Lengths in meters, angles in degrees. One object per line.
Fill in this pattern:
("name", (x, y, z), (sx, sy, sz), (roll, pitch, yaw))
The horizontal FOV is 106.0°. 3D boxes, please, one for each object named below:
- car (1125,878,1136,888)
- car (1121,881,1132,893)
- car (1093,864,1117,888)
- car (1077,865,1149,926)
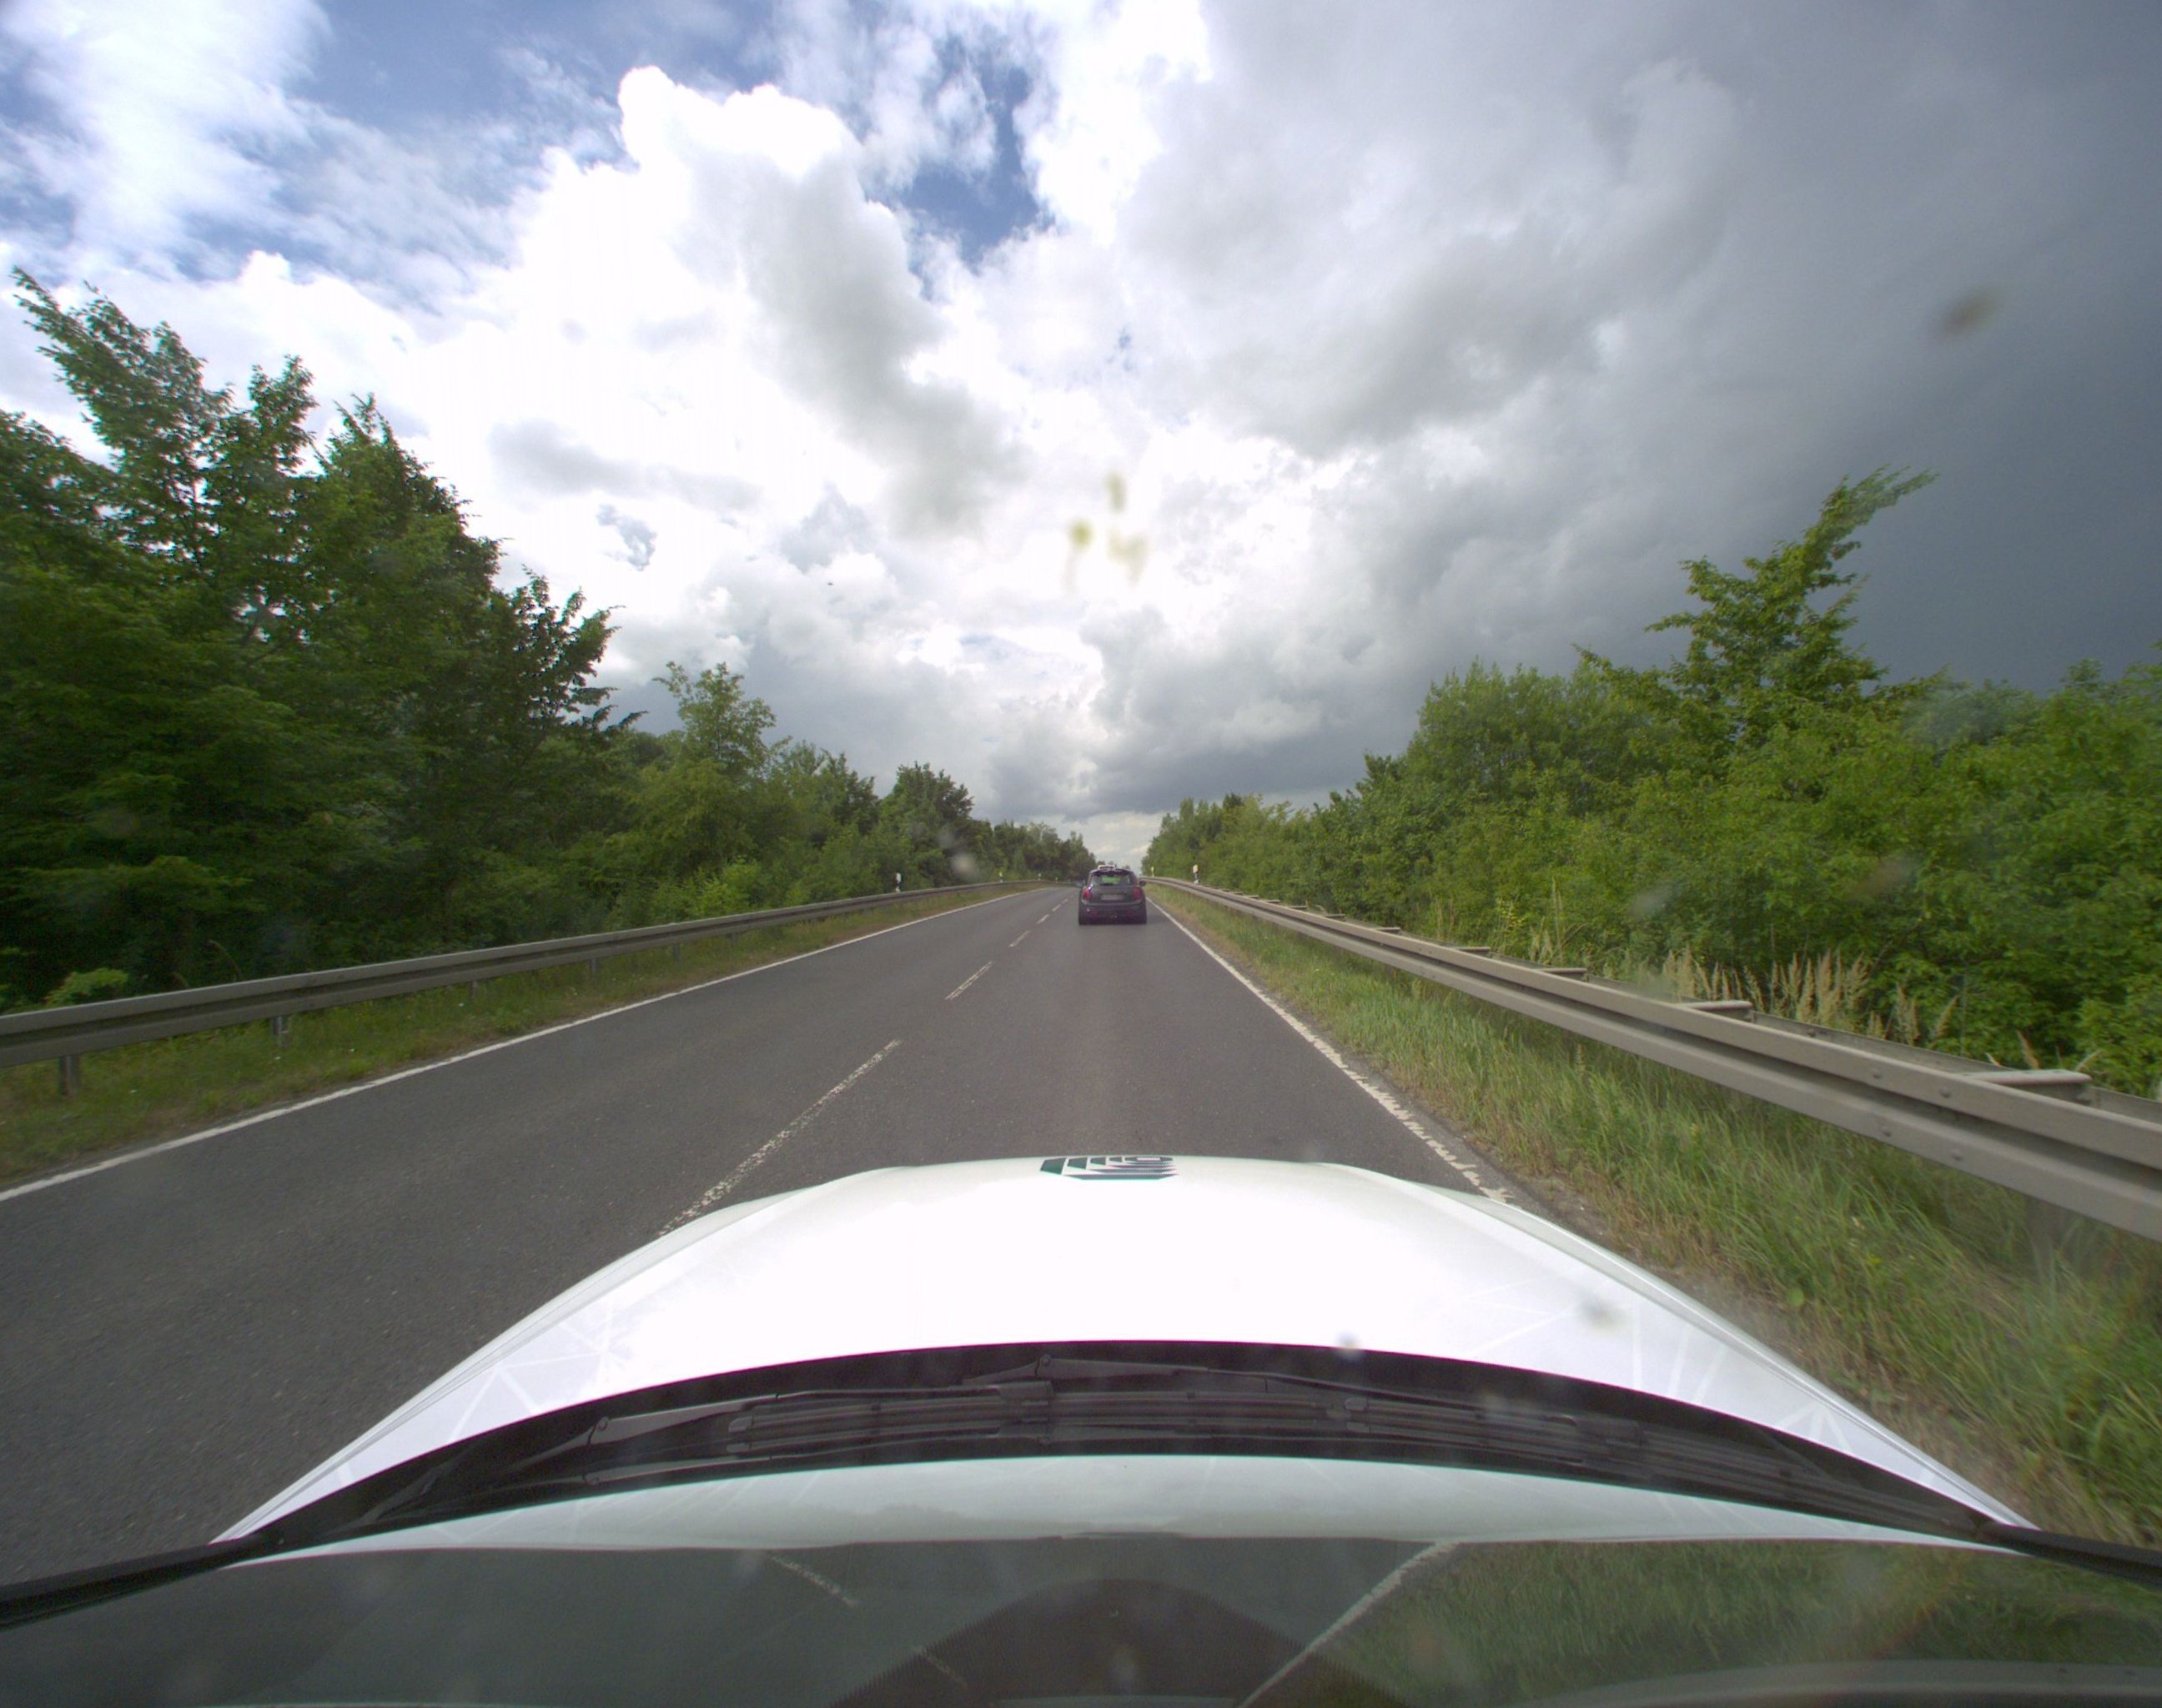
("car", (10.289, 6.028, 169.703), (1.983, 2.014, 4.007), (-1, -1, 6))
("car", (8.248, 5.868, 147.123), (1.985, 2.014, 4.004), (-1, -1, 4))
("car", (2.214, 1.955, 73.468), (2.014, 2.013, 4.002), (-2, -1, 2))
("car", (0.894, 1.058, 22.098), (1.725, 1.456, 4.003), (-2, -1, 3))
